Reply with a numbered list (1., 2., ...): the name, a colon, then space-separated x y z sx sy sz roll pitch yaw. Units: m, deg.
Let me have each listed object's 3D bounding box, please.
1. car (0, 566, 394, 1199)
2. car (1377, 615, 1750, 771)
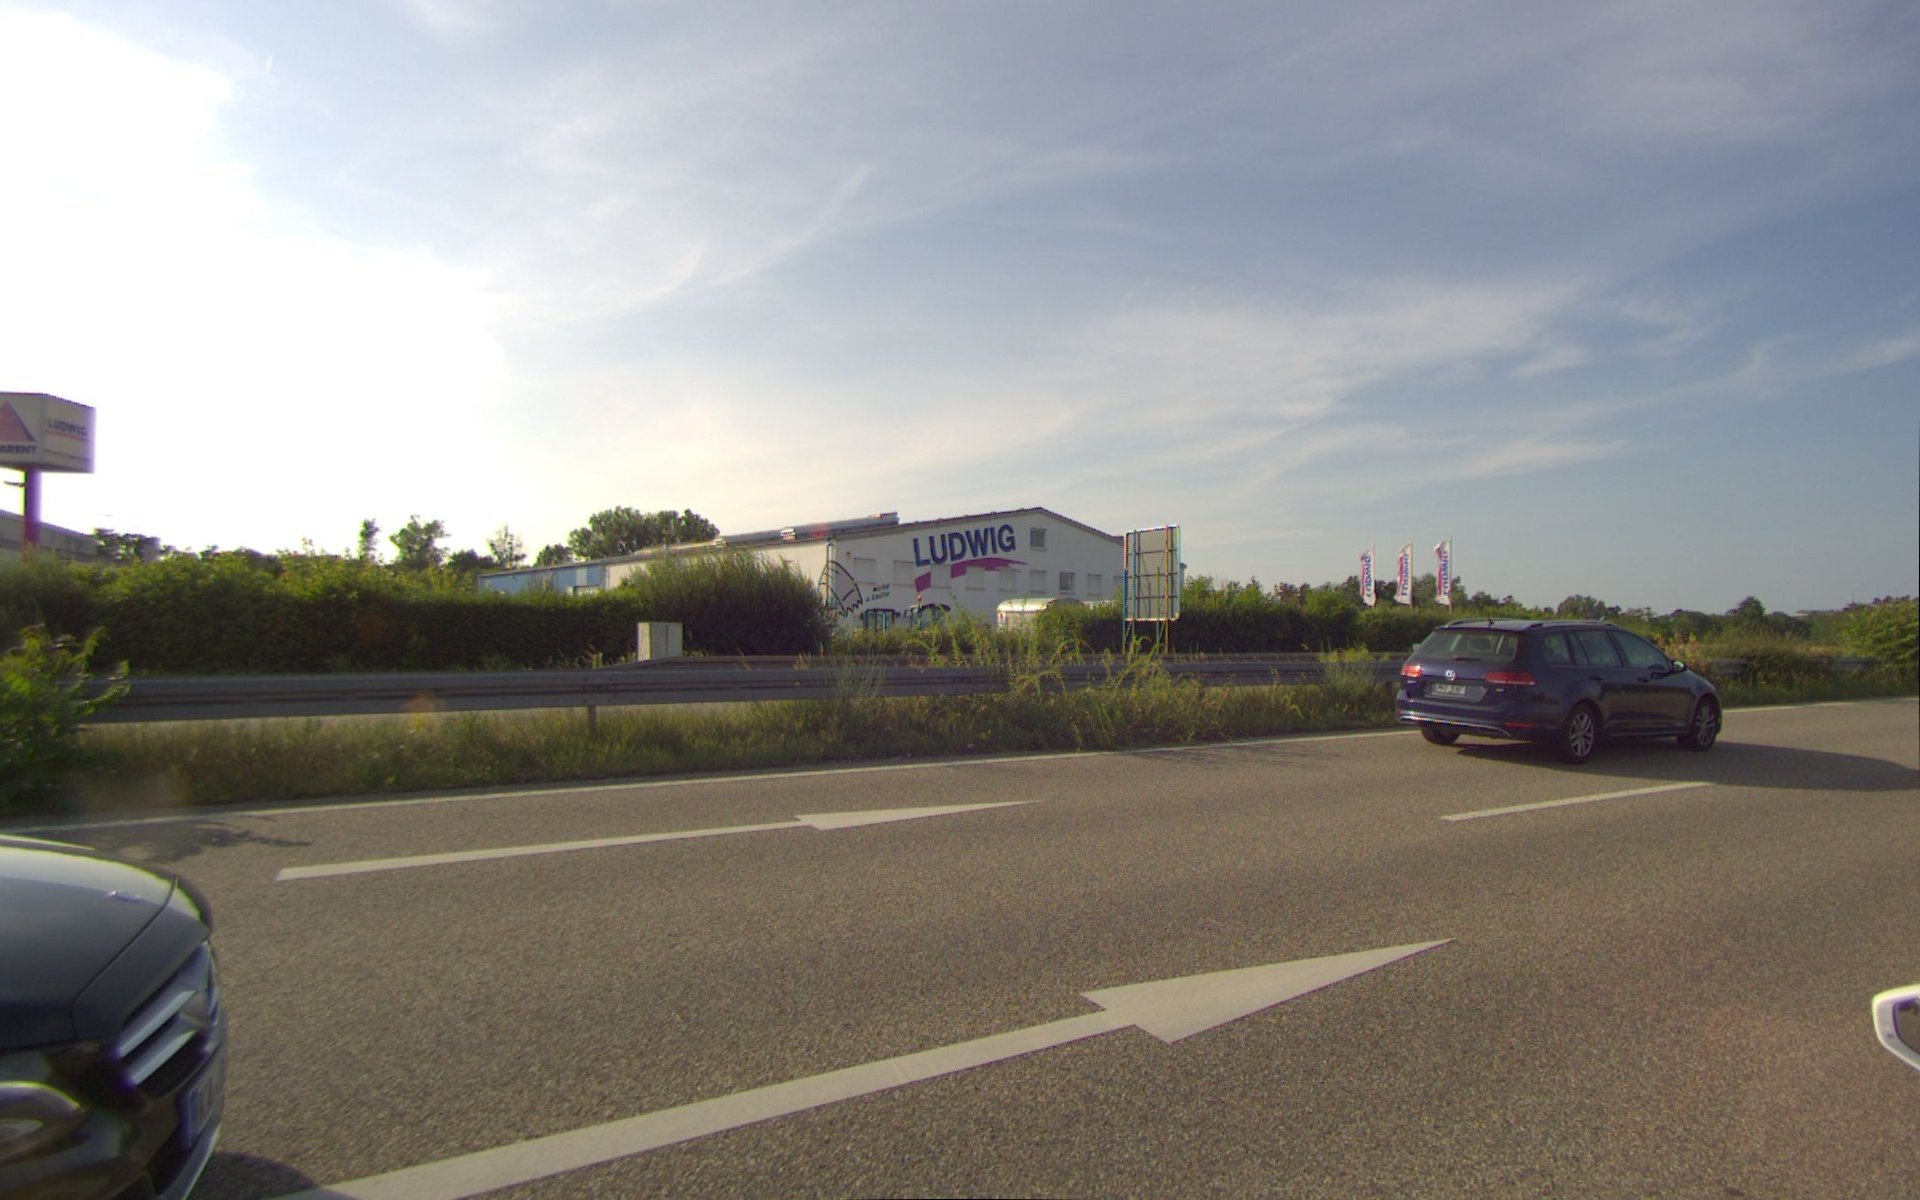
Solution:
1. car: -3.482 0.658 1.090 4.963 1.490 1.565 2 -1 -30
2. car: 7.044 0.955 11.574 4.720 1.490 1.638 1 -1 -30
